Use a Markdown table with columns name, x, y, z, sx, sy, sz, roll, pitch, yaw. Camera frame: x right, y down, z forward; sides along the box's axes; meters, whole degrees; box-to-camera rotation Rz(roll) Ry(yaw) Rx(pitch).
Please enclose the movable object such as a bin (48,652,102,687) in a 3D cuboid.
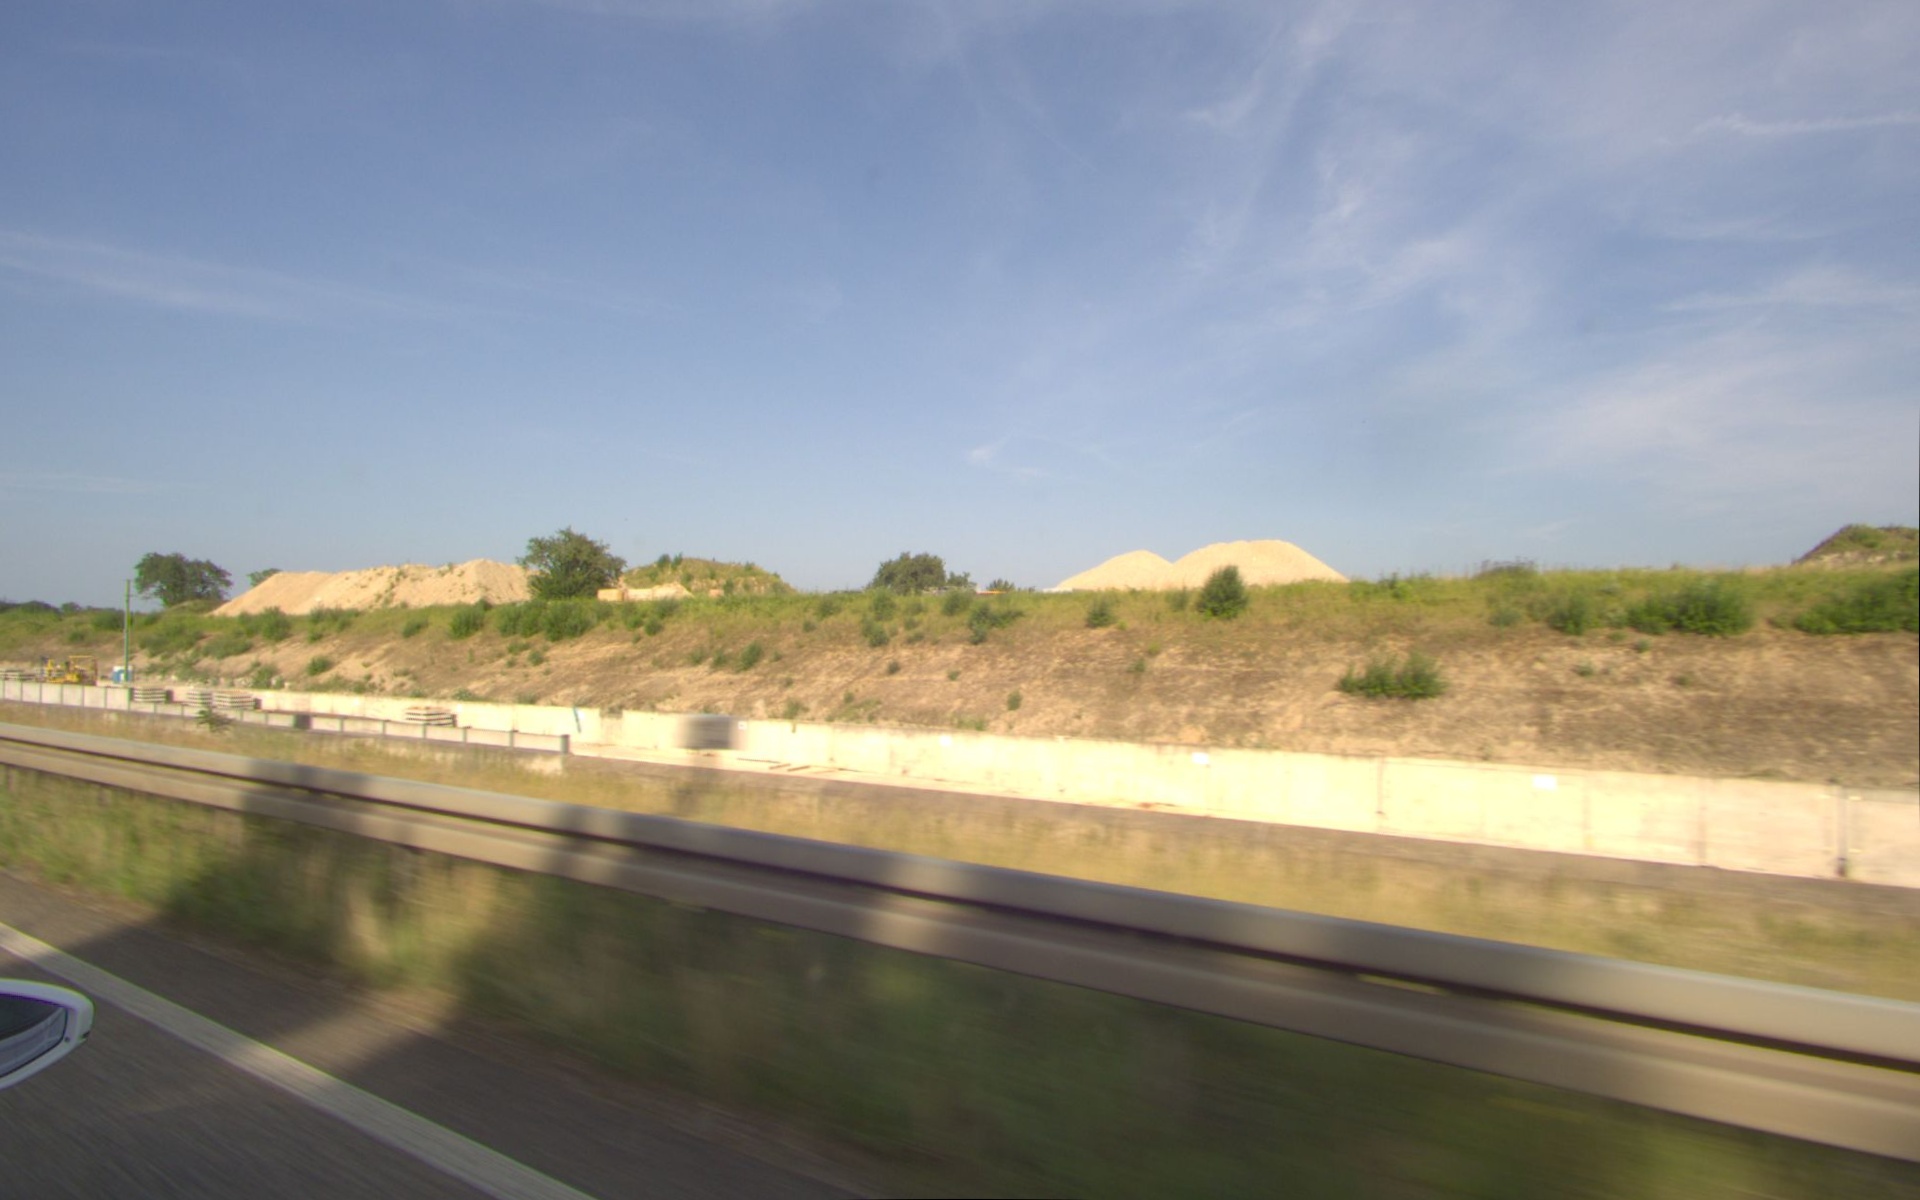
| name | x | y | z | sx | sy | sz | roll | pitch | yaw |
| --- | --- | --- | --- | --- | --- | --- | --- | --- | --- |
| movable object such as a bin | -69.993 | 5.464 | 79.245 | 2.875 | 2.695 | 2.007 | 1 | -2 | -34 |
